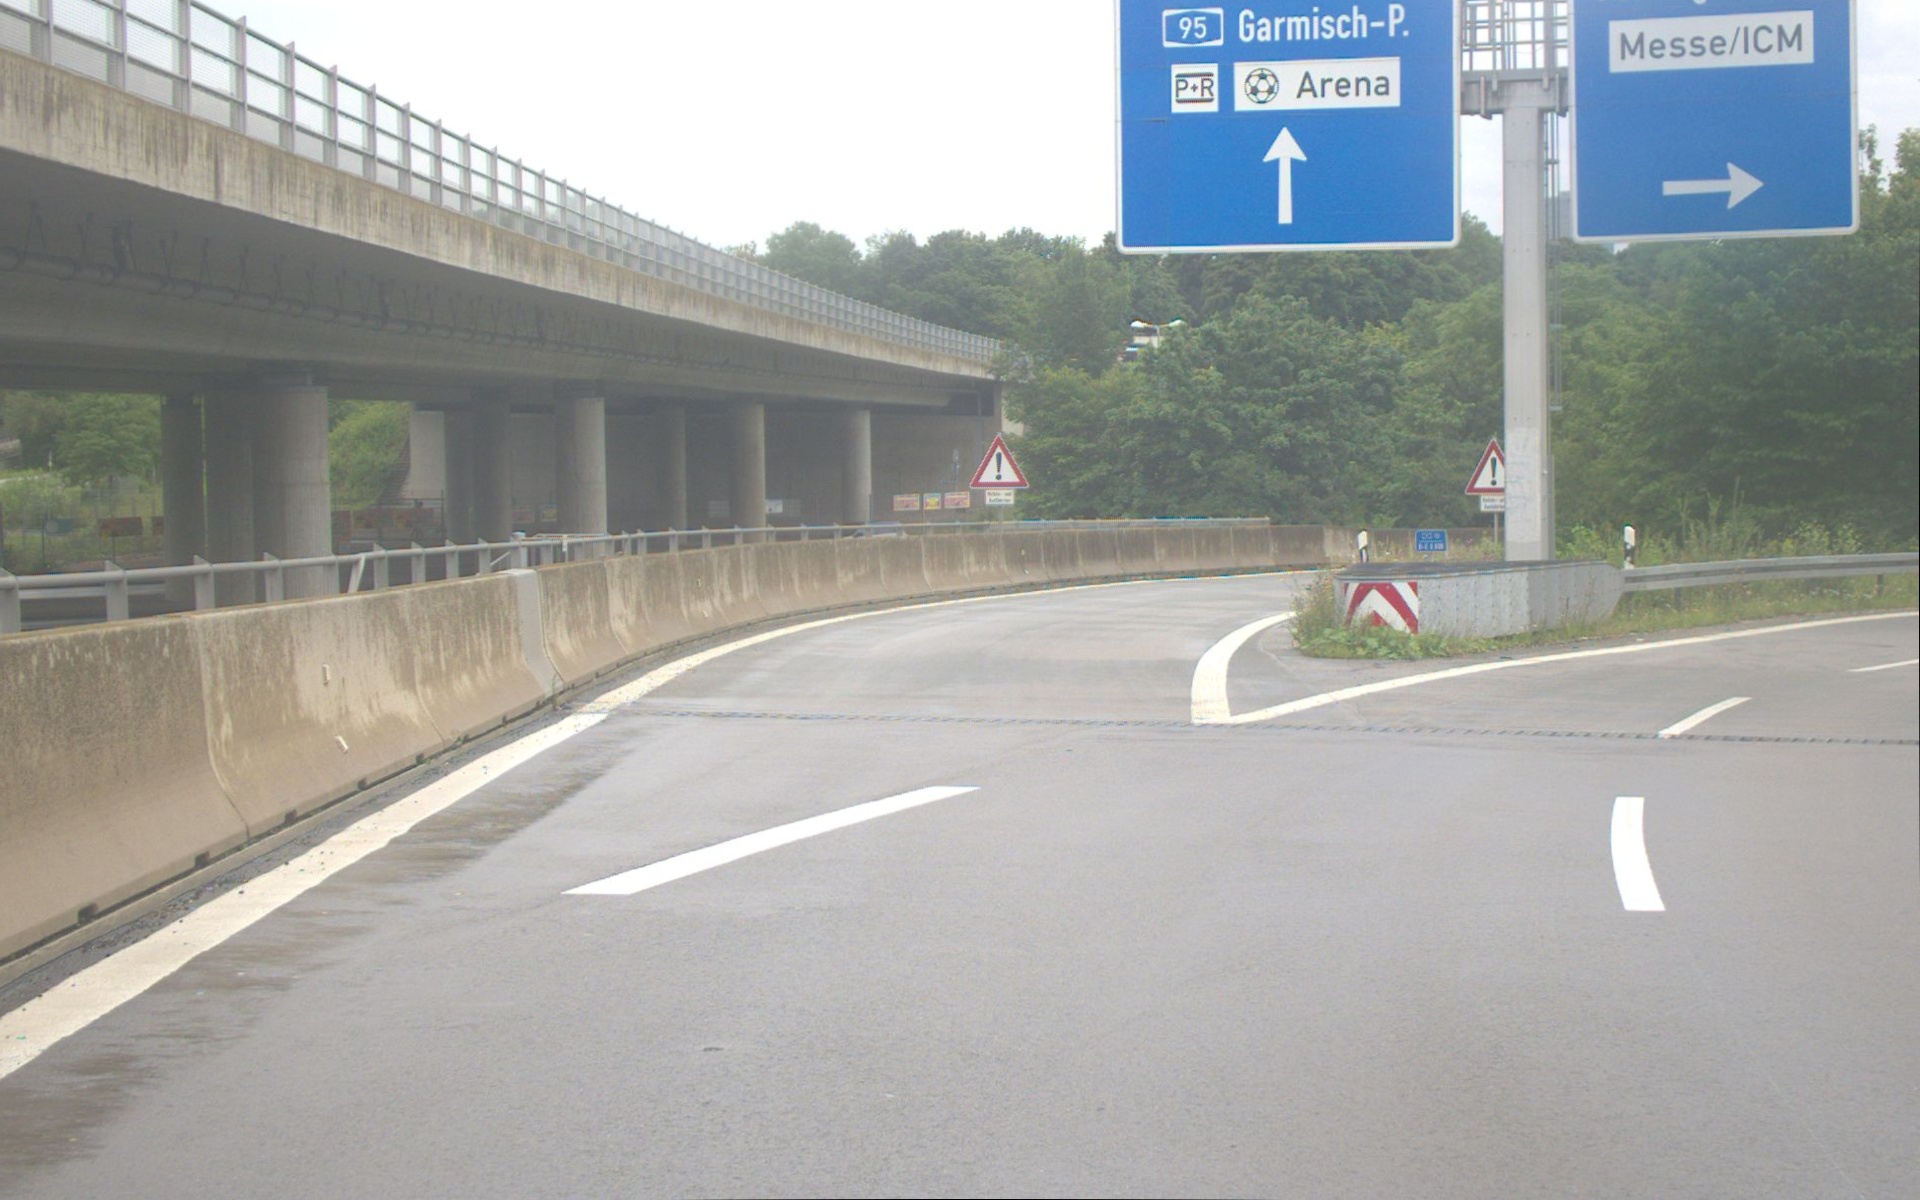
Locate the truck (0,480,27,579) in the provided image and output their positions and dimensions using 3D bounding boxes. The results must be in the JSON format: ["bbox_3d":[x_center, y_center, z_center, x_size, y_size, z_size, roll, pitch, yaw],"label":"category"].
[{"bbox_3d":[-31.938,-2.098,103.234,7.210,2.967,2.260,-1,1,-34],"label":"truck"}]
